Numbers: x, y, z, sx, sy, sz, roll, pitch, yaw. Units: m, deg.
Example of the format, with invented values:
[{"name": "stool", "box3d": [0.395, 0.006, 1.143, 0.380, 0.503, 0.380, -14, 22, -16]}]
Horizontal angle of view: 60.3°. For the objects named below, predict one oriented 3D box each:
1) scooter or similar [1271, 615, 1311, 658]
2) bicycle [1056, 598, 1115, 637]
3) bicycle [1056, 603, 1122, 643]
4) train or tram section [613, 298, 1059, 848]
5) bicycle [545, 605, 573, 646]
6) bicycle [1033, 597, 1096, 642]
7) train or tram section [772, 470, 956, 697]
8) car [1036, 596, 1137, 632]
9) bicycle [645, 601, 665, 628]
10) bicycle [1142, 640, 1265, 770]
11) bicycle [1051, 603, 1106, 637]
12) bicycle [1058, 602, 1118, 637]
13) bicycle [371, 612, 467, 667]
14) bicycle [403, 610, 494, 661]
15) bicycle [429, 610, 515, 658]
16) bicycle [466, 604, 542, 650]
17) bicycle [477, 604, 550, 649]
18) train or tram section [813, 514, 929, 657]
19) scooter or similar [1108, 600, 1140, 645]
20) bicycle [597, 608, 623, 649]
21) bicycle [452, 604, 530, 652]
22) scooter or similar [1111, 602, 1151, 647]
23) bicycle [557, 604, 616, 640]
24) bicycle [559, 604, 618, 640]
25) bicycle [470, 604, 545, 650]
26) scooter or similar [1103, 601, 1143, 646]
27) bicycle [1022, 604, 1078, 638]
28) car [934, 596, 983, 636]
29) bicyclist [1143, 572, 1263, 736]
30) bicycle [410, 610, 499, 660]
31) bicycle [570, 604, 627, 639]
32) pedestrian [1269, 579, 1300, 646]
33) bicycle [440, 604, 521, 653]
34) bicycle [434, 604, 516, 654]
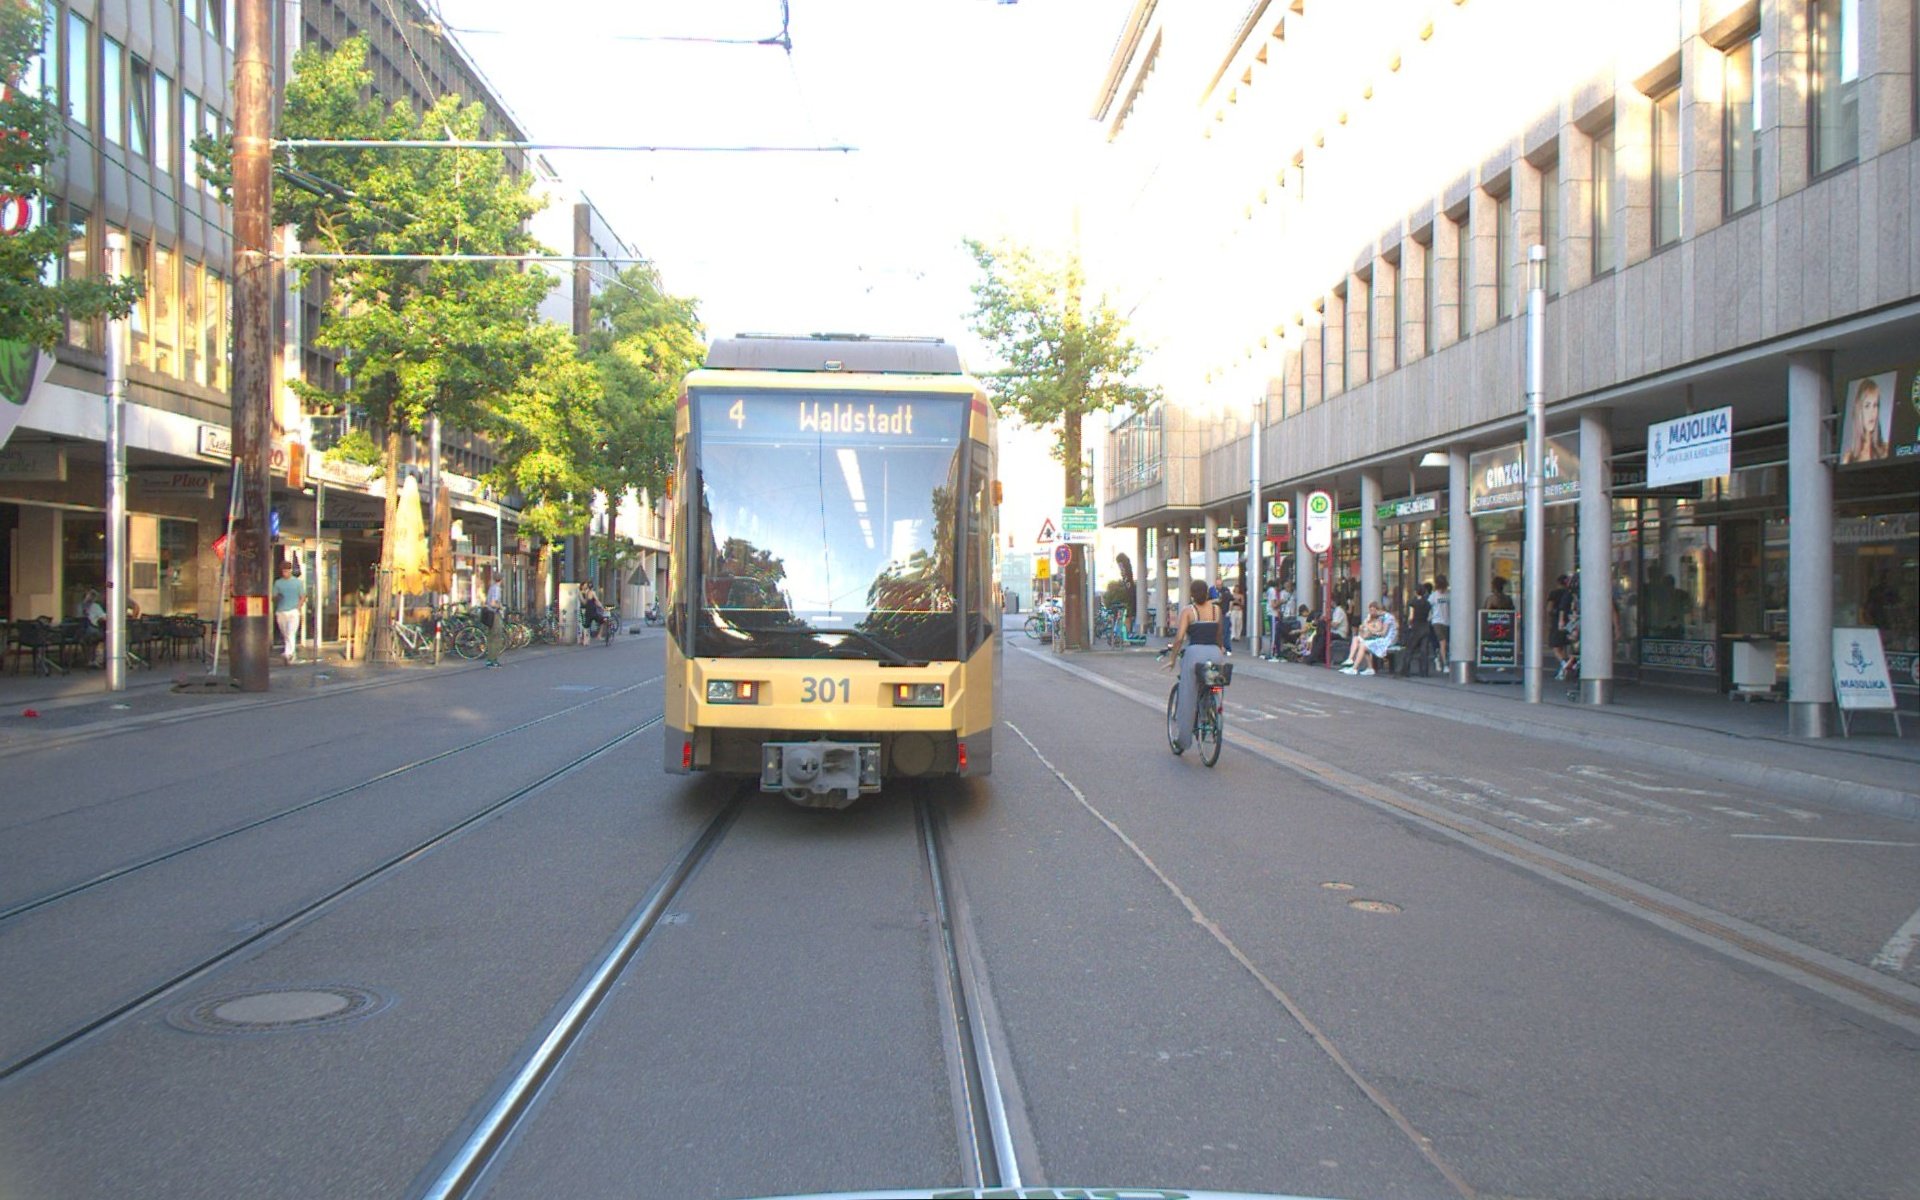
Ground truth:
[{"name": "scooter or similar", "box3d": [7.216, 0.784, 36.034, 0.815, 0.899, 0.687, 1, 0, 12]}, {"name": "bicycle", "box3d": [4.248, 0.576, 56.045, 1.879, 1.244, 0.762, -2, 0, -7]}, {"name": "bicycle", "box3d": [4.093, 0.721, 52.464, 1.958, 1.175, 0.724, -2, 0, -7]}, {"name": "train or tram section", "box3d": [-1.096, -0.207, 17.469, 2.744, 3.377, 14.500, 0, 0, -3]}, {"name": "bicycle", "box3d": [-10.895, 0.673, 44.957, 0.478, 1.063, 1.776, 1, 1, -5]}, {"name": "bicycle", "box3d": [3.356, 0.618, 53.259, 1.879, 1.356, 0.724, -2, 0, -7]}, {"name": "train or tram section", "box3d": [-1.768, -0.292, 31.932, 2.744, 3.377, 14.500, 0, 0, -3]}, {"name": "car", "box3d": [5.240, 0.591, 68.607, 3.840, 1.434, 1.761, 1, -1, -26]}, {"name": "bicycle", "box3d": [-13.886, 0.657, 75.247, 0.488, 1.127, 1.801, 0, 1, 3]}, {"name": "bicycle", "box3d": [2.333, 0.979, 16.085, 0.798, 1.092, 2.112, 2, 0, -2]}, {"name": "bicycle", "box3d": [4.113, 0.708, 57.682, 1.816, 1.128, 0.666, -1, 0, -5]}, {"name": "bicycle", "box3d": [4.275, 0.644, 55.299, 1.879, 1.096, 0.762, -2, 0, -7]}, {"name": "bicycle", "box3d": [-10.493, 0.769, 32.066, 1.734, 0.982, 0.490, 2, -1, 14]}, {"name": "bicycle", "box3d": [-10.730, 0.740, 34.711, 1.739, 1.007, 0.488, 2, 1, -8]}, {"name": "bicycle", "box3d": [-10.810, 0.746, 36.649, 1.739, 1.007, 0.488, 2, 1, -8]}, {"name": "bicycle", "box3d": [-11.376, 0.677, 41.325, 1.739, 1.090, 0.488, 2, 0, -8]}, {"name": "bicycle", "box3d": [-11.468, 0.680, 42.519, 1.739, 1.090, 0.488, 2, 0, -8]}, {"name": "train or tram section", "box3d": [-2.448, -0.376, 46.429, 2.744, 3.377, 14.500, 0, 0, -3]}, {"name": "scooter or similar", "box3d": [4.896, 0.665, 49.359, 0.385, 1.273, 1.187, -1, 1, 35]}, {"name": "bicycle", "box3d": [-9.562, 0.758, 45.208, 0.478, 1.063, 1.776, 1, 1, -5]}, {"name": "bicycle", "box3d": [-11.358, 0.672, 40.105, 1.739, 1.090, 0.488, 2, 0, -8]}, {"name": "scooter or similar", "box3d": [4.958, 0.702, 47.971, 1.102, 1.273, 0.491, -1, 1, -33]}, {"name": "bicycle", "box3d": [-11.781, 0.692, 52.203, 1.736, 1.063, 0.489, 2, 0, -3]}, {"name": "bicycle", "box3d": [-11.787, 0.693, 52.445, 1.736, 1.063, 0.489, 2, 0, -3]}, {"name": "bicycle", "box3d": [-11.451, 0.678, 41.867, 1.739, 1.090, 0.488, 2, 0, -8]}, {"name": "scooter or similar", "box3d": [4.800, 0.690, 48.731, 1.176, 1.273, 0.389, -1, 1, -32]}, {"name": "bicycle", "box3d": [3.122, 0.723, 57.443, 1.816, 1.128, 0.666, -1, 0, -5]}, {"name": "car", "box3d": [-0.033, 0.603, 61.151, 1.733, 1.434, 4.052, 1, -1, 0]}, {"name": "bicyclist", "box3d": [2.341, 0.509, 16.041, 0.977, 1.528, 0.857, 2, 0, -2]}, {"name": "bicycle", "box3d": [-10.760, 0.741, 35.239, 1.739, 1.007, 0.488, 2, 1, -8]}, {"name": "bicycle", "box3d": [-11.818, 0.698, 54.086, 1.736, 1.063, 0.489, 2, 0, -3]}, {"name": "pedestrian", "box3d": [8.278, 0.309, 42.177, 0.635, 1.690, 0.650, -1, 0, -2]}, {"name": "bicycle", "box3d": [-11.259, 0.669, 38.868, 1.739, 1.090, 0.488, 2, 0, -8]}, {"name": "bicycle", "box3d": [-11.216, 0.667, 38.292, 1.739, 1.090, 0.488, 2, 0, -8]}]
